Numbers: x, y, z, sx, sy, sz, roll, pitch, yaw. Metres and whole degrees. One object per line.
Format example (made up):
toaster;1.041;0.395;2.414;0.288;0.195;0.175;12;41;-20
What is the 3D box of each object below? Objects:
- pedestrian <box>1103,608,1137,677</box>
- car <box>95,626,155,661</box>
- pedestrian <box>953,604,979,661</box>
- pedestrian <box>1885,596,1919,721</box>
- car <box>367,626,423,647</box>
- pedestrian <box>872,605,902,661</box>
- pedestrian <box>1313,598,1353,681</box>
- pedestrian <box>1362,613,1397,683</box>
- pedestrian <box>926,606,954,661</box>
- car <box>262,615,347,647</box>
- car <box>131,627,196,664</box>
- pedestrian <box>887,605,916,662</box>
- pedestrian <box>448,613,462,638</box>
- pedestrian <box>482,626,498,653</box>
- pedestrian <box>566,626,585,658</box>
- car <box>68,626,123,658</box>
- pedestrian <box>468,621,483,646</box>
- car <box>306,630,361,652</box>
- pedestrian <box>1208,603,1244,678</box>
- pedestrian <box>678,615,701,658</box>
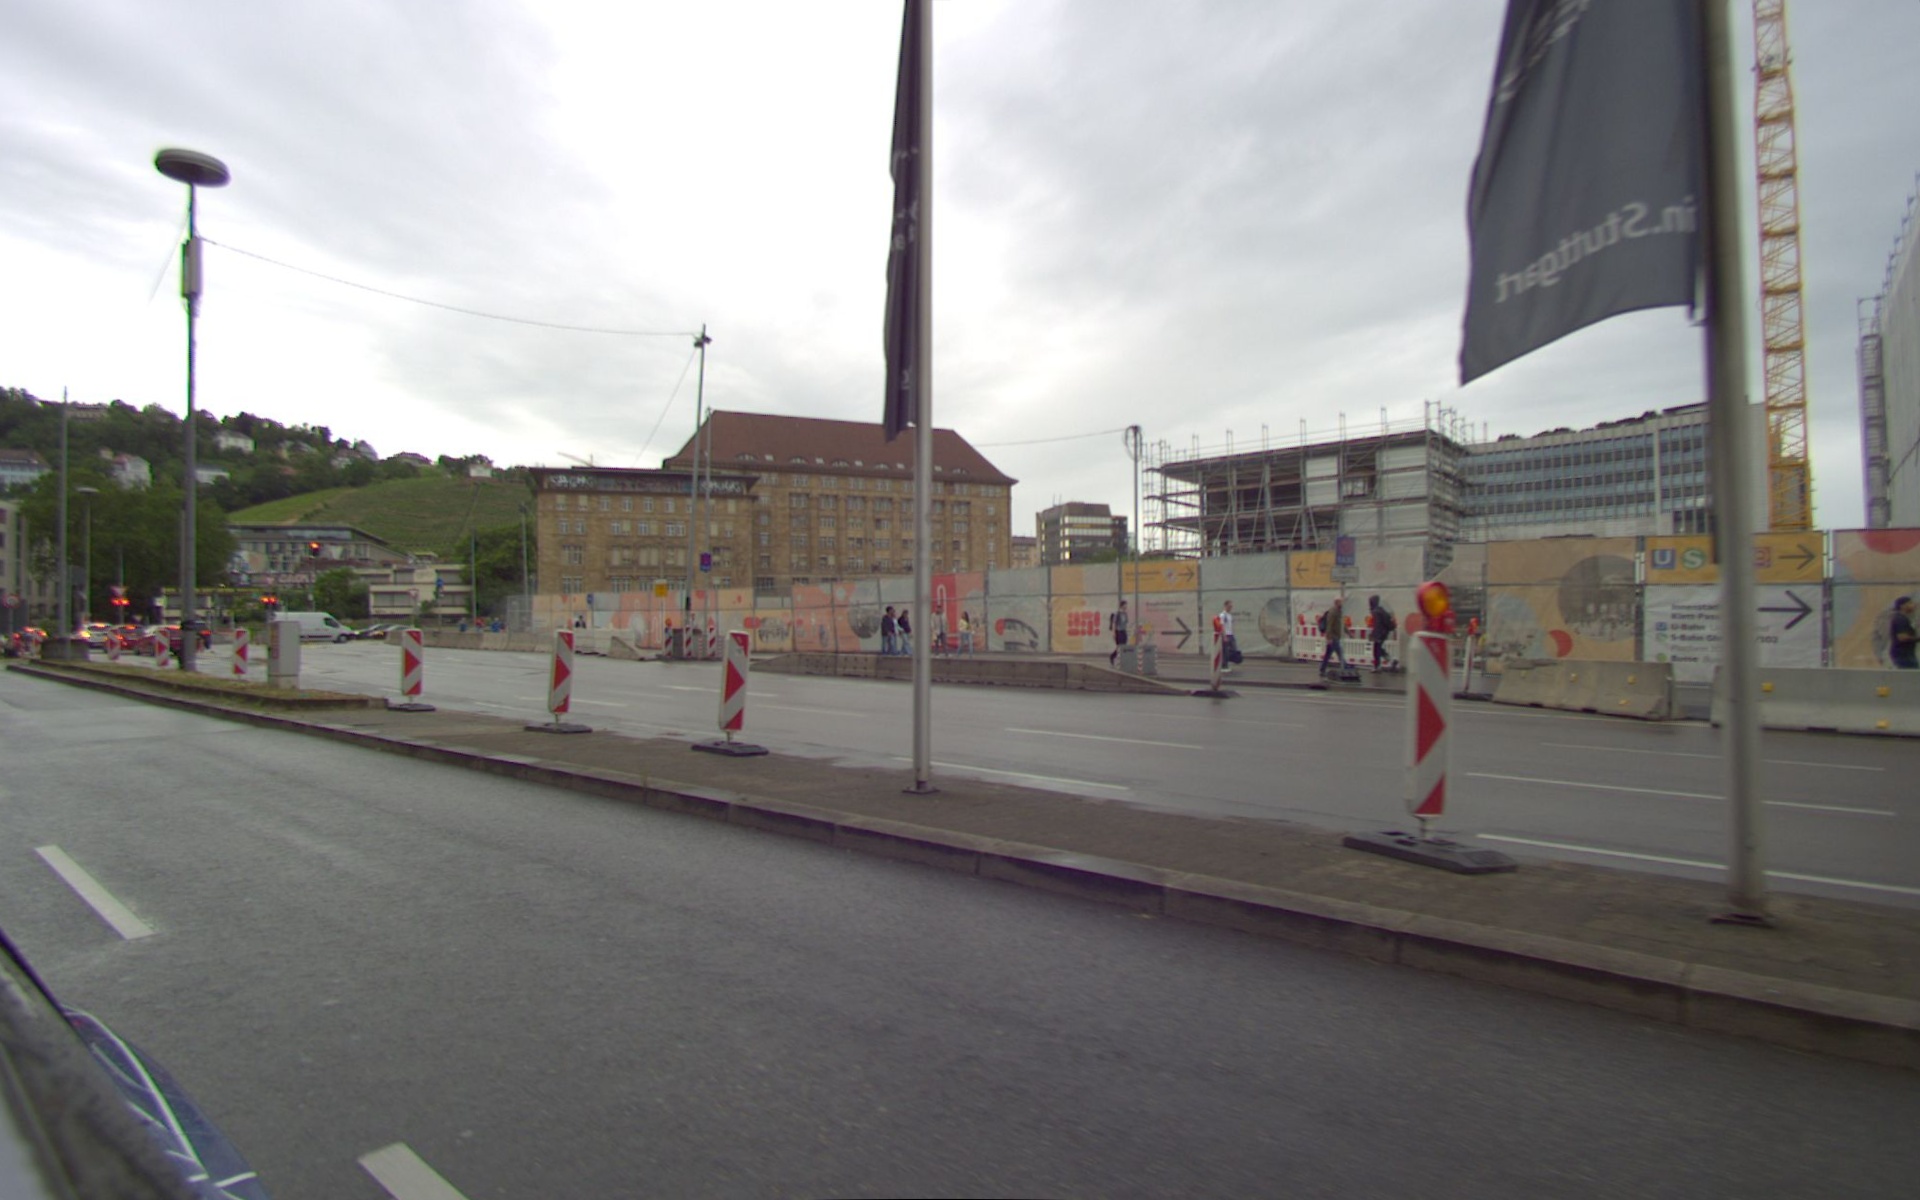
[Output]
pedestrian;4.426;1.166;28.007;0.717;1.850;0.579;-1;0;42
car;-44.305;2.285;53.686;3.913;1.707;1.763;-1;0;40
pedestrian;0.195;1.066;33.554;0.651;1.850;0.557;-1;0;-28
pedestrian;14.429;0.867;15.141;0.819;1.850;0.572;-1;0;42
car;-47.569;3.042;85.261;3.934;1.644;2.005;0;-2;-36
pedestrian;-2.340;1.043;32.568;0.704;1.746;0.719;-1;0;-30
pedestrian;8.533;0.896;23.177;0.717;1.850;0.475;-1;0;42
pedestrian;9.933;1.118;23.945;0.544;1.628;0.706;-1;0;41
pedestrian;-0.663;1.091;33.367;0.704;1.757;0.565;-1;0;-28
car;-49.919;2.301;77.111;5.171;2.254;2.002;-1;0;-44
car;-38.385;2.146;48.755;3.914;1.707;1.762;-2;-2;41
pedestrian;-1.953;1.093;33.617;0.704;1.850;0.719;-1;0;-30
pedestrian;-33.470;1.685;67.070;0.544;1.628;0.706;-1;0;41
pedestrian;-28.481;2.385;61.385;0.544;1.628;0.706;-1;0;41
pedestrian;-19.974;2.168;52.555;0.544;1.628;0.706;-1;0;41
car;-49.363;2.366;57.748;3.913;1.707;1.763;-1;0;40
pedestrian;-32.731;2.272;68.348;0.544;1.628;0.706;-1;0;41
car;-58.675;3.785;94.811;4.136;1.871;1.833;-1;0;-43
pedestrian;6.651;0.994;25.293;0.717;1.850;0.475;-1;0;42
pedestrian;-11.795;1.590;44.095;0.720;1.850;0.656;-1;0;41
